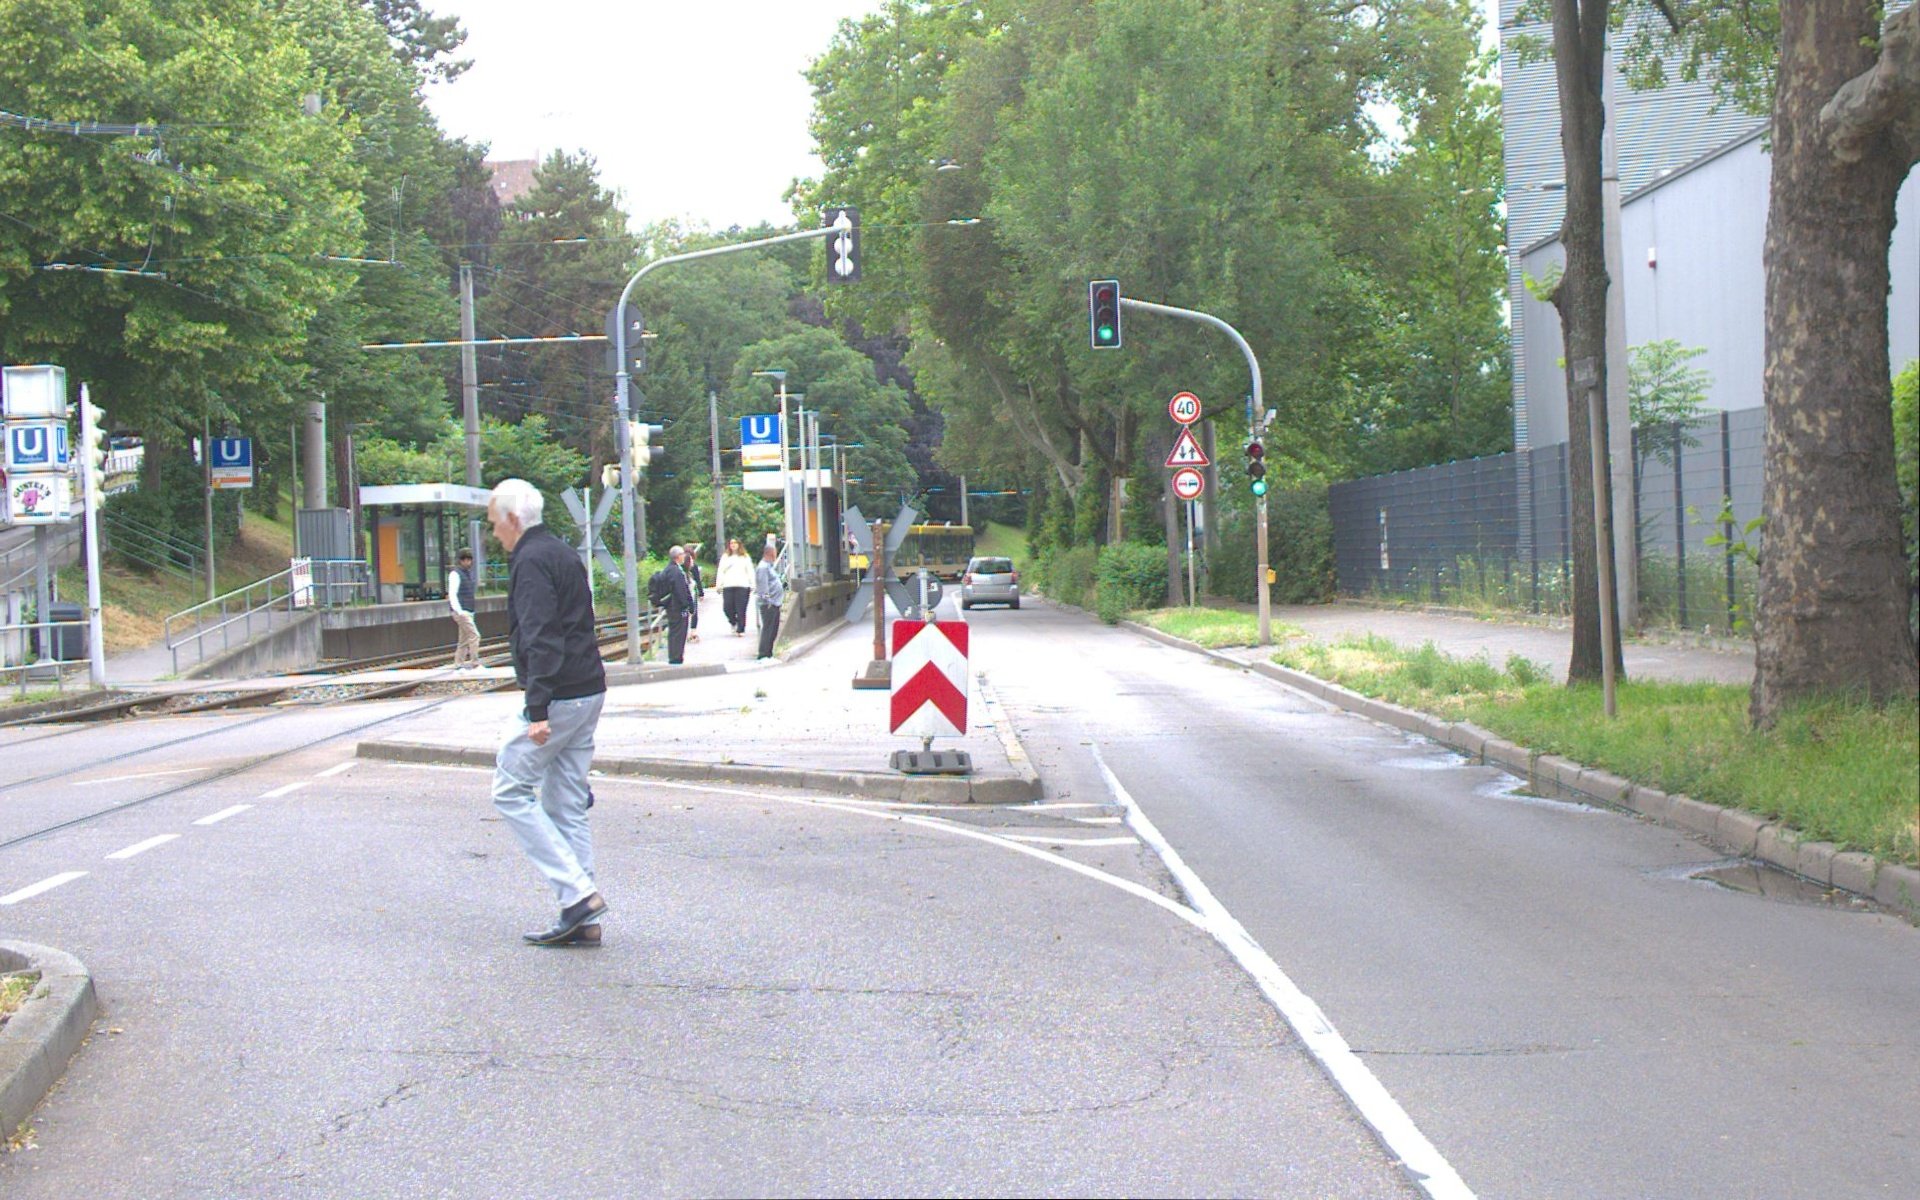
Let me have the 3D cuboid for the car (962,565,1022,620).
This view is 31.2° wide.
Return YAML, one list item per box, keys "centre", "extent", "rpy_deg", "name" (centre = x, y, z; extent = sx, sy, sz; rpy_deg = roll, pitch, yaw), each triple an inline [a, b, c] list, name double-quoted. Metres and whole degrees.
- centre: [0.958, -0.242, 105.691]
  extent: [1.743, 1.593, 4.000]
  rpy_deg: [1, 1, -1]
  name: "car"

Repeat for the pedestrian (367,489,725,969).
- centre: [-1.570, 0.465, 13.131]
  extent: [1.118, 1.754, 0.813]
  rpy_deg: [1, 1, 17]
  name: "pedestrian"

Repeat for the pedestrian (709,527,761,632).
- centre: [-3.607, -0.334, 55.136]
  extent: [0.735, 1.659, 0.682]
  rpy_deg: [1, 0, -11]
  name: "pedestrian"

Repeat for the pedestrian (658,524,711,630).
- centre: [-4.351, -0.366, 54.229]
  extent: [0.735, 1.659, 0.682]
  rpy_deg: [1, 0, -11]
  name: "pedestrian"

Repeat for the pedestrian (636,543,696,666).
- centre: [-4.016, 0.061, 47.009]
  extent: [0.735, 1.659, 0.682]
  rpy_deg: [1, 0, 1]
  name: "pedestrian"

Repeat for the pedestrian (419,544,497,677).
- centre: [-6.924, 0.142, 47.434]
  extent: [0.803, 1.815, 0.670]
  rpy_deg: [0, 1, -42]
  name: "pedestrian"

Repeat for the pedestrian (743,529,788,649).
- centre: [-2.867, -0.158, 50.791]
  extent: [0.550, 1.752, 0.737]
  rpy_deg: [1, 0, 4]
  name: "pedestrian"

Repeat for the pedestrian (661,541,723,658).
- centre: [-3.882, -0.010, 49.811]
  extent: [0.680, 1.659, 0.737]
  rpy_deg: [1, 0, 15]
  name: "pedestrian"
